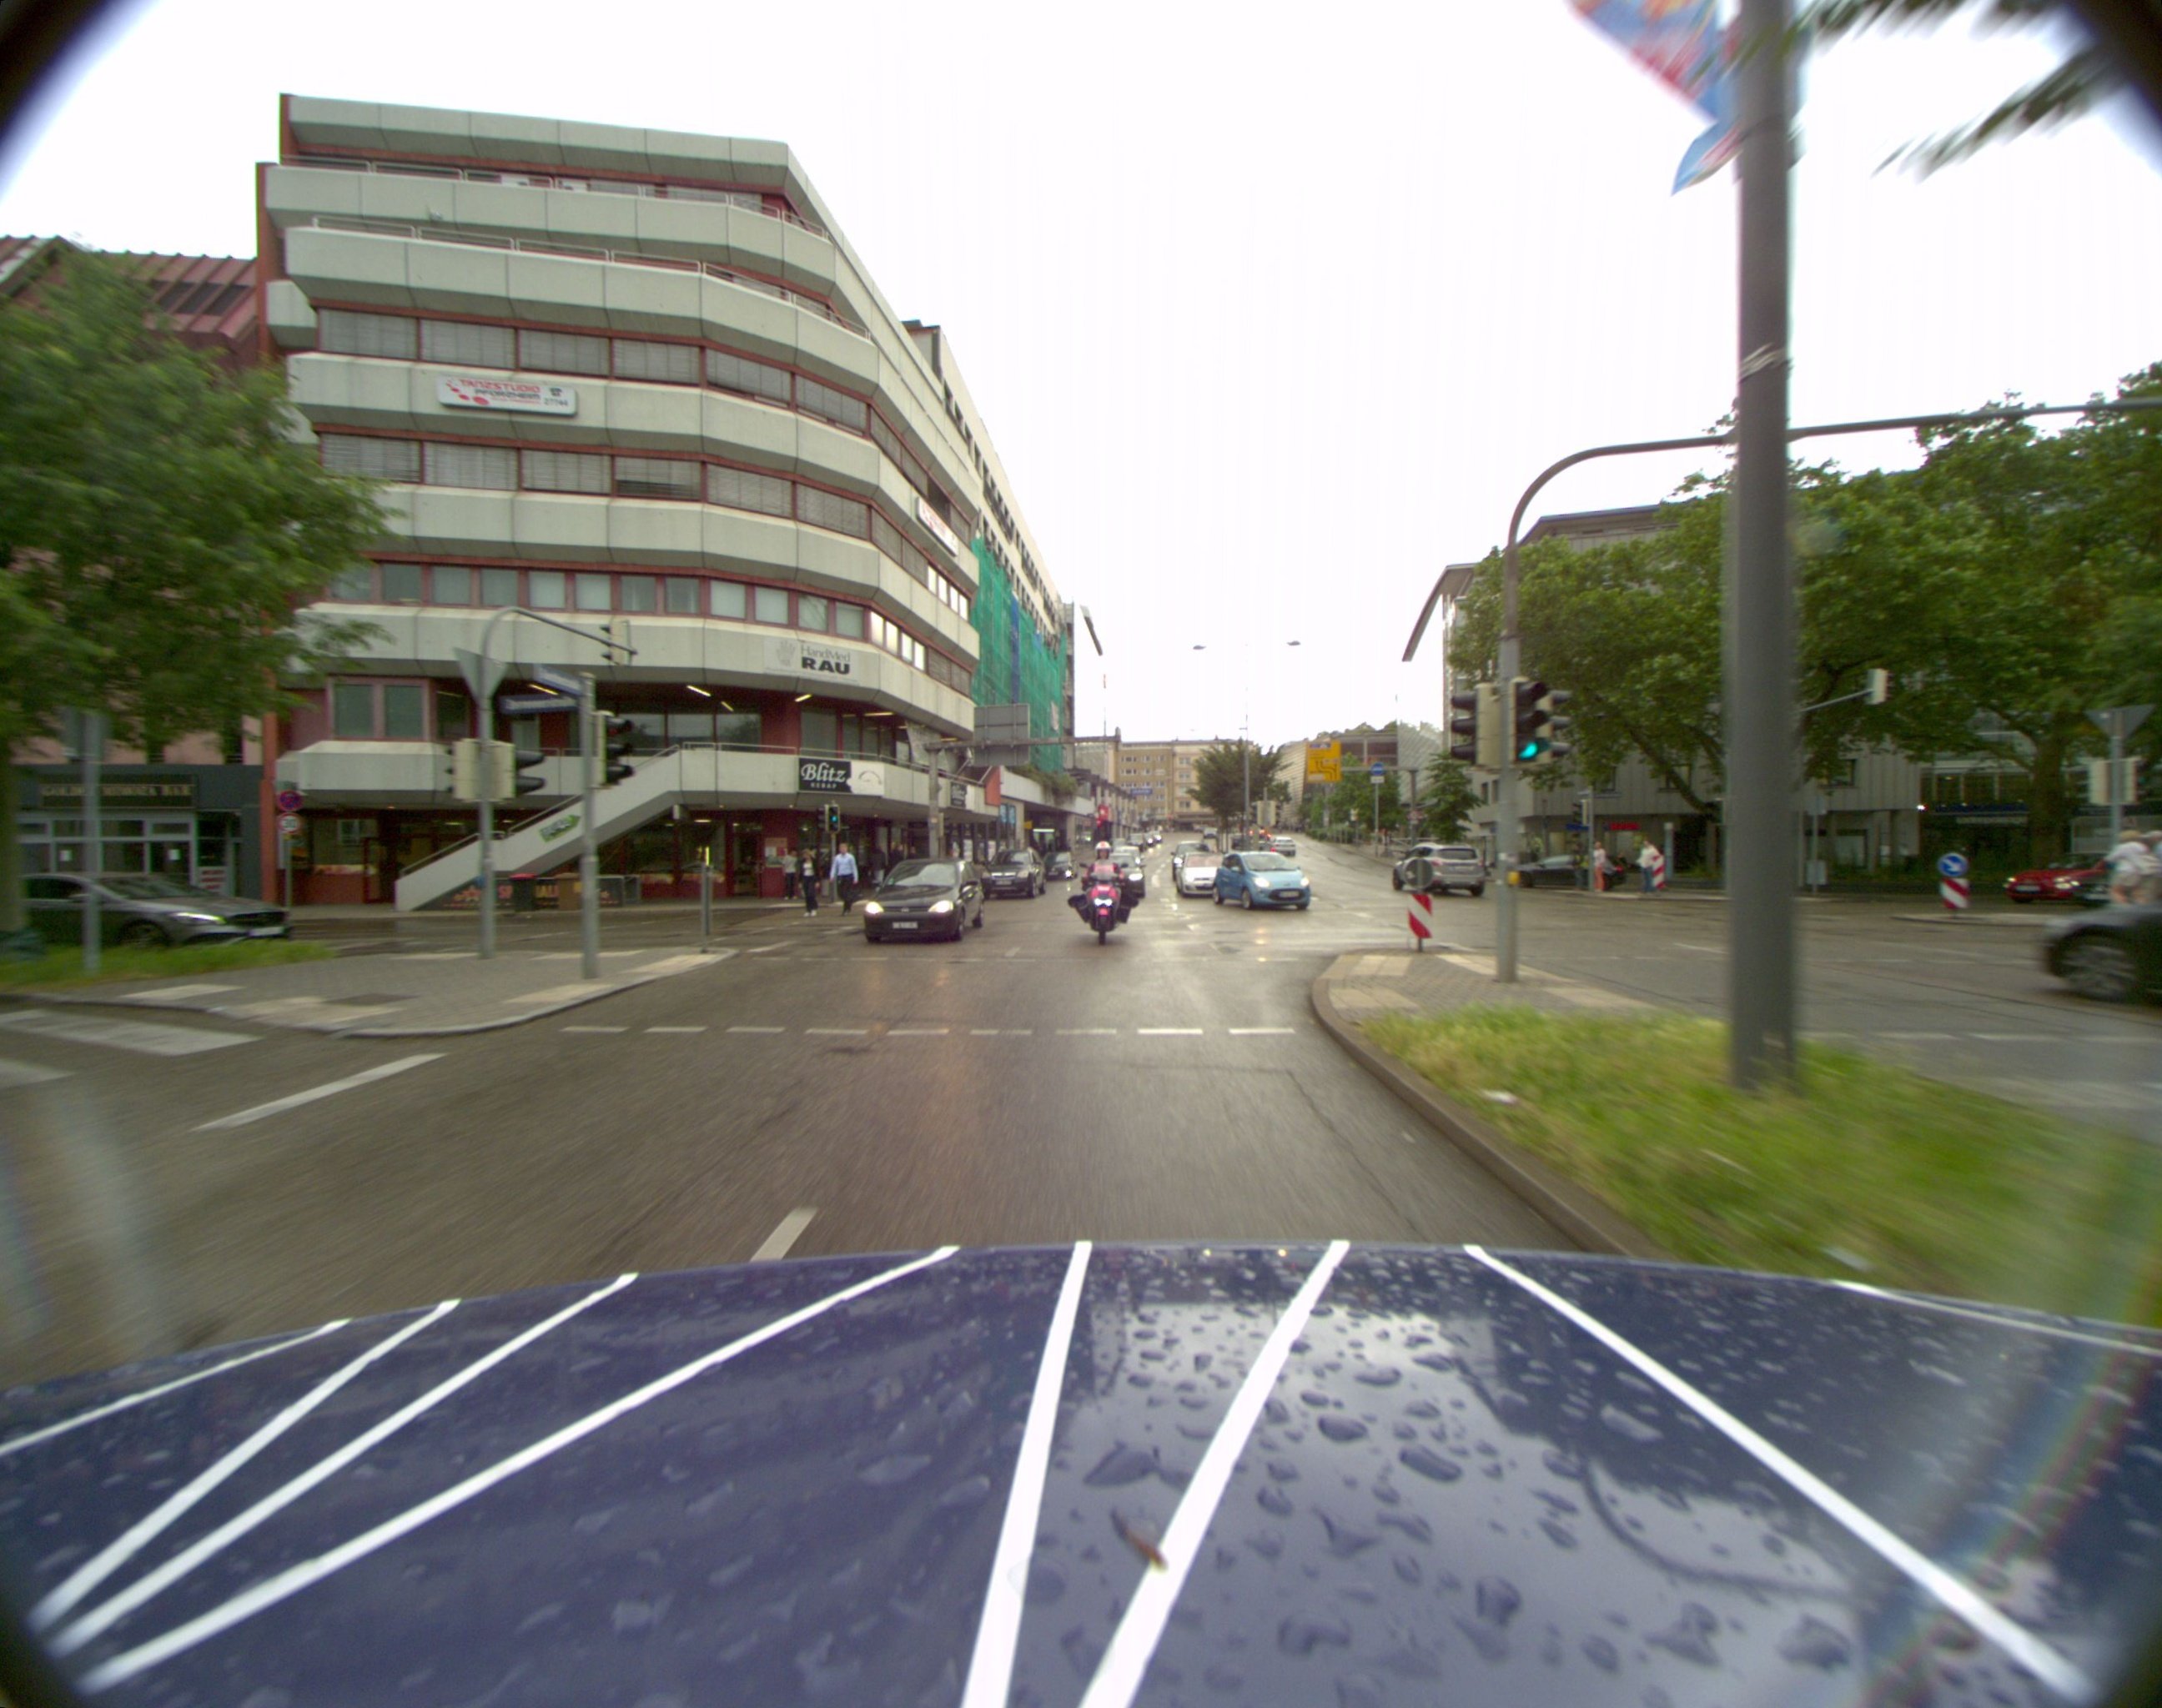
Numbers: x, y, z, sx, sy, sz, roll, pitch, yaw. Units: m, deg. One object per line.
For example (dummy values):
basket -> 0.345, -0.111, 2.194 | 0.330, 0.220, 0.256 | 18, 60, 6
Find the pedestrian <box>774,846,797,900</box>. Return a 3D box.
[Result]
pedestrian -> -9.848, 0.623, 25.340 | 0.528, 1.753, 0.510 | -4, 4, -35

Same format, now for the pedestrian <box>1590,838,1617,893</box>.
pedestrian -> 18.062, 0.390, 26.263 | 0.447, 1.827, 0.676 | -1, 4, 3

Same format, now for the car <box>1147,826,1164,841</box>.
car -> 9.105, -2.564, 92.880 | 1.831, 1.727, 4.000 | 0, 4, 8

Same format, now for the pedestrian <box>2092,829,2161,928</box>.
pedestrian -> 19.312, 0.432, 14.009 | 0.528, 1.754, 0.592 | -4, 2, 6

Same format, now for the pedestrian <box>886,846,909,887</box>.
pedestrian -> -7.727, 0.516, 31.946 | 0.589, 1.696, 0.971 | 1, 1, 9

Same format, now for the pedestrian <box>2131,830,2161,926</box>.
pedestrian -> 20.059, 0.443, 14.017 | 0.528, 1.754, 0.593 | 0, 1, 5

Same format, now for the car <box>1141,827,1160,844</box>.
car -> 7.635, -2.023, 82.989 | 1.831, 1.727, 4.000 | 0, 4, 8

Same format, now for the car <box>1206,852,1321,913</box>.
car -> 4.729, 0.679, 20.207 | 1.701, 1.465, 3.687 | -1, 0, -9

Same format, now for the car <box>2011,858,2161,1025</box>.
car -> 10.154, 0.809, 5.581 | 1.761, 1.412, 4.097 | 1, 2, 5

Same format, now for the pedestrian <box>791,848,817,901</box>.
pedestrian -> -9.297, 0.691, 25.509 | 0.596, 1.753, 0.493 | -1, 3, 8

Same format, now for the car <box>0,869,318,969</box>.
car -> -15.537, 1.003, 12.327 | 4.272, 1.412, 1.786 | -1, 1, -6

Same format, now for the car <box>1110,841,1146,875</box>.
car -> 2.570, 0.226, 40.693 | 1.631, 1.731, 3.602 | 0, 0, 8

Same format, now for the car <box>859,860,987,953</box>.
car -> -2.772, 0.865, 14.085 | 1.596, 1.432, 3.627 | -1, 0, 0

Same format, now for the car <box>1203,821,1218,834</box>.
car -> 17.366, -3.573, 102.057 | 1.831, 1.727, 4.000 | 0, 4, 8

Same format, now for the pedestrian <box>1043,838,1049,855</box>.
pedestrian -> -2.976, -0.651, 64.874 | 0.429, 1.481, 0.524 | -1, 4, -8

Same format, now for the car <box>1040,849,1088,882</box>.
car -> -0.870, 0.557, 40.241 | 1.681, 1.422, 3.778 | -2, 3, 12

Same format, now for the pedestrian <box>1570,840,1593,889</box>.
pedestrian -> 18.072, 0.384, 27.463 | 0.412, 1.753, 0.677 | -1, 0, 5

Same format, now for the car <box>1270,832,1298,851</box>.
car -> 16.691, -1.031, 62.588 | 1.675, 1.507, 3.644 | 1, 1, 7

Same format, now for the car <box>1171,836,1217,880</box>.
car -> 5.470, 0.147, 37.127 | 1.997, 1.768, 4.885 | -3, 3, 8

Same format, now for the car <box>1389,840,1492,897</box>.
car -> 11.946, 0.404, 25.566 | 1.831, 1.726, 4.311 | 0, 1, 6

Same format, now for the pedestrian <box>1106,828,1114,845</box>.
pedestrian -> 3.191, -1.938, 82.923 | 0.707, 1.772, 0.641 | 4, 9, 9

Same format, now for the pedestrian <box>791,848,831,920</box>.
pedestrian -> -6.832, 0.759, 19.249 | 0.623, 1.764, 0.677 | -1, 3, 14

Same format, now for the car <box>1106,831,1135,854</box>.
car -> 3.303, -0.977, 62.921 | 1.775, 1.575, 4.001 | -3, 3, 12

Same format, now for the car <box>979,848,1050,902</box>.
car -> -2.257, 0.673, 26.966 | 1.735, 1.669, 4.250 | -2, 1, 5

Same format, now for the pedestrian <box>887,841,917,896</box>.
pedestrian -> -6.321, 0.505, 26.870 | 0.760, 1.891, 0.790 | 0, 3, 7

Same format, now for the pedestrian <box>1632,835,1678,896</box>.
pedestrian -> 18.495, 0.351, 24.494 | 0.861, 1.895, 0.826 | -2, 1, -17

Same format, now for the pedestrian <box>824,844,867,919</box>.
pedestrian -> -5.985, 0.674, 19.331 | 0.623, 1.837, 0.848 | -1, 3, 14

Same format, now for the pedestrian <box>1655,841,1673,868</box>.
pedestrian -> 35.935, 0.035, 46.808 | 0.622, 1.648, 0.633 | 0, 4, 13

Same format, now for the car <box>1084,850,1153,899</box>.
car -> 1.395, 0.655, 26.487 | 1.936, 1.511, 4.471 | -1, 0, 9

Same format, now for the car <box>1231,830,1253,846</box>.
car -> 15.250, -1.514, 72.149 | 1.716, 1.470, 3.958 | 1, 2, 6

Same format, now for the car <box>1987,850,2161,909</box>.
car -> 28.451, 0.687, 21.325 | 3.997, 1.577, 1.702 | 0, 0, 1

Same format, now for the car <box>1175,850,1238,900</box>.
car -> 4.161, 0.646, 25.732 | 1.769, 1.401, 4.000 | -2, 2, 5

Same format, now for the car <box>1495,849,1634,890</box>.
car -> 19.169, 0.555, 30.237 | 4.413, 1.388, 1.937 | 2, 2, 40

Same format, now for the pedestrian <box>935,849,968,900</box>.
pedestrian -> -4.798, 0.744, 28.281 | 0.897, 1.770, 0.805 | 4, 4, 10

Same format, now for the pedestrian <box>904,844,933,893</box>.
pedestrian -> -6.102, 0.531, 28.583 | 0.750, 1.770, 0.888 | -2, 3, 4

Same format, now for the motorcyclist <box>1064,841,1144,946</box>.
motorcyclist -> 0.414, 0.658, 13.191 | 1.295, 1.756, 0.846 | 0, 1, 8

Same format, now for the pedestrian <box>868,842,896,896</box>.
pedestrian -> -7.044, 0.528, 26.960 | 0.734, 1.885, 0.676 | 0, 3, 6

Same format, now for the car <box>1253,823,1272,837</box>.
car -> 20.065, -2.648, 84.149 | 1.621, 1.483, 3.880 | 2, 2, 7

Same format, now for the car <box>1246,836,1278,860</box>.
car -> 12.285, -0.390, 51.626 | 1.626, 1.546, 3.660 | 0, 1, 6

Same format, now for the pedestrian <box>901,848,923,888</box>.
pedestrian -> -7.072, 0.577, 31.851 | 0.575, 1.654, 0.941 | 1, 1, 9

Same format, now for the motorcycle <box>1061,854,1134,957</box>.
motorcycle -> 0.335, 0.758, 12.517 | 0.831, 1.479, 2.867 | 2, 0, 8

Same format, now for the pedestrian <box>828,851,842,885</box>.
pedestrian -> -10.787, 0.609, 33.339 | 0.460, 1.479, 0.508 | -2, 4, -31

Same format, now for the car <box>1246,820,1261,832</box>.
car -> 22.551, -3.683, 99.491 | 1.628, 1.430, 3.647 | 0, 3, 7

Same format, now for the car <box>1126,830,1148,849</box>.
car -> 5.435, -1.434, 73.425 | 1.831, 1.727, 4.000 | 0, 4, 8

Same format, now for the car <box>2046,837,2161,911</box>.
car -> 25.919, 0.462, 18.034 | 3.597, 1.686, 1.638 | 0, 0, 7
